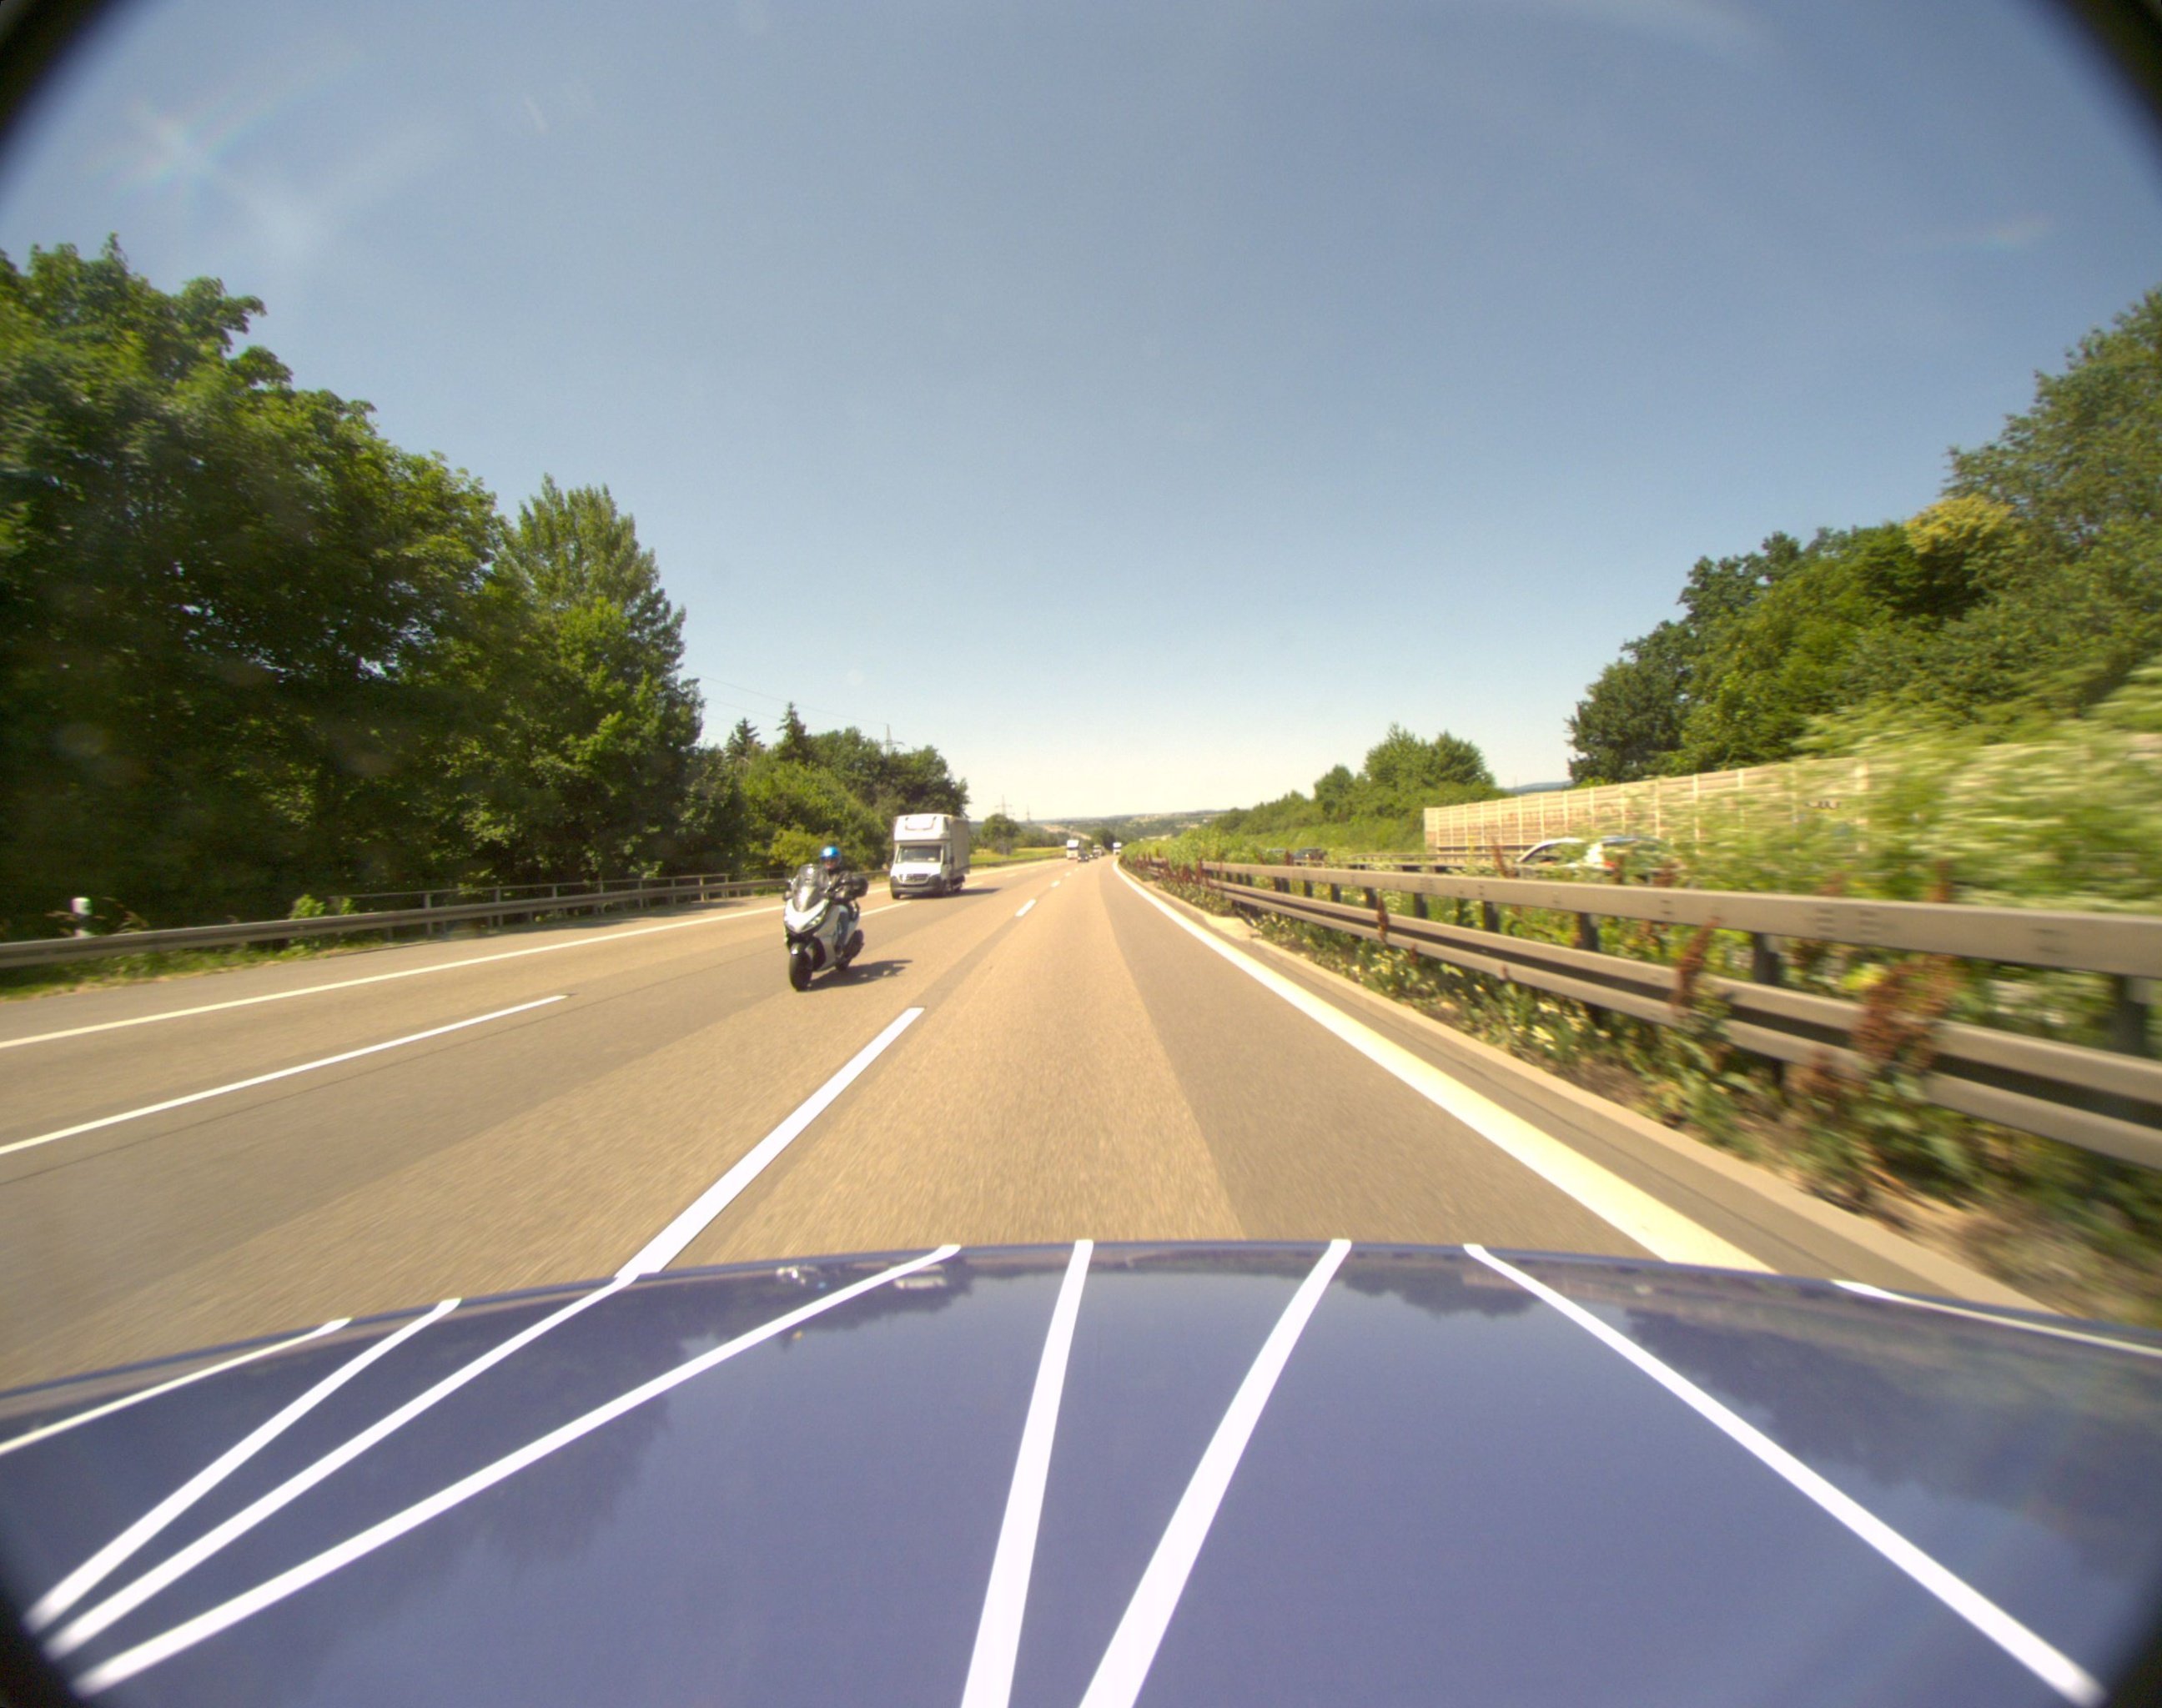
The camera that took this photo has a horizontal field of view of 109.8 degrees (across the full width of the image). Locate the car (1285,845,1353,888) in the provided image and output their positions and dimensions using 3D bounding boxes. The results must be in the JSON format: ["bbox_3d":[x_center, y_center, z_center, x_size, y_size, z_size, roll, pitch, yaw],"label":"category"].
[{"bbox_3d":[9.595,0.468,30.854,1.605,1.608,3.873,-2,0,2],"label":"car"}]

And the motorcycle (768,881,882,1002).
[{"bbox_3d":[-3.251,1.048,9.910,0.631,1.279,2.312,-2,0,1],"label":"motorcycle"}]

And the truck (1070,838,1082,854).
[{"bbox_3d":[-1.144,-1.788,170.759,2.591,3.444,5.962,-2,0,-1],"label":"truck"}]

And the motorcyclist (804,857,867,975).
[{"bbox_3d":[-3.243,0.805,10.085,0.613,1.499,0.513,-2,1,1],"label":"motorcyclist"}]

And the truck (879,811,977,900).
[{"bbox_3d":[-6.205,0.041,32.145,2.513,3.268,8.106,-1,0,0],"label":"truck"}]

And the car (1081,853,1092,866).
[{"bbox_3d":[0.925,0.924,125.714,1.705,1.958,4.000,-2,0,1],"label":"car"}]

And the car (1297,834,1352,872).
[{"bbox_3d":[13.622,-0.050,42.657,1.854,2.002,4.000,-2,0,2],"label":"car"}]

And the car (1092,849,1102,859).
[{"bbox_3d":[3.496,-0.004,167.358,1.998,2.002,4.000,-2,0,0],"label":"car"}]

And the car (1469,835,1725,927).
[{"bbox_3d":[9.411,0.427,14.409,1.840,1.418,4.489,-2,0,1],"label":"car"}]
